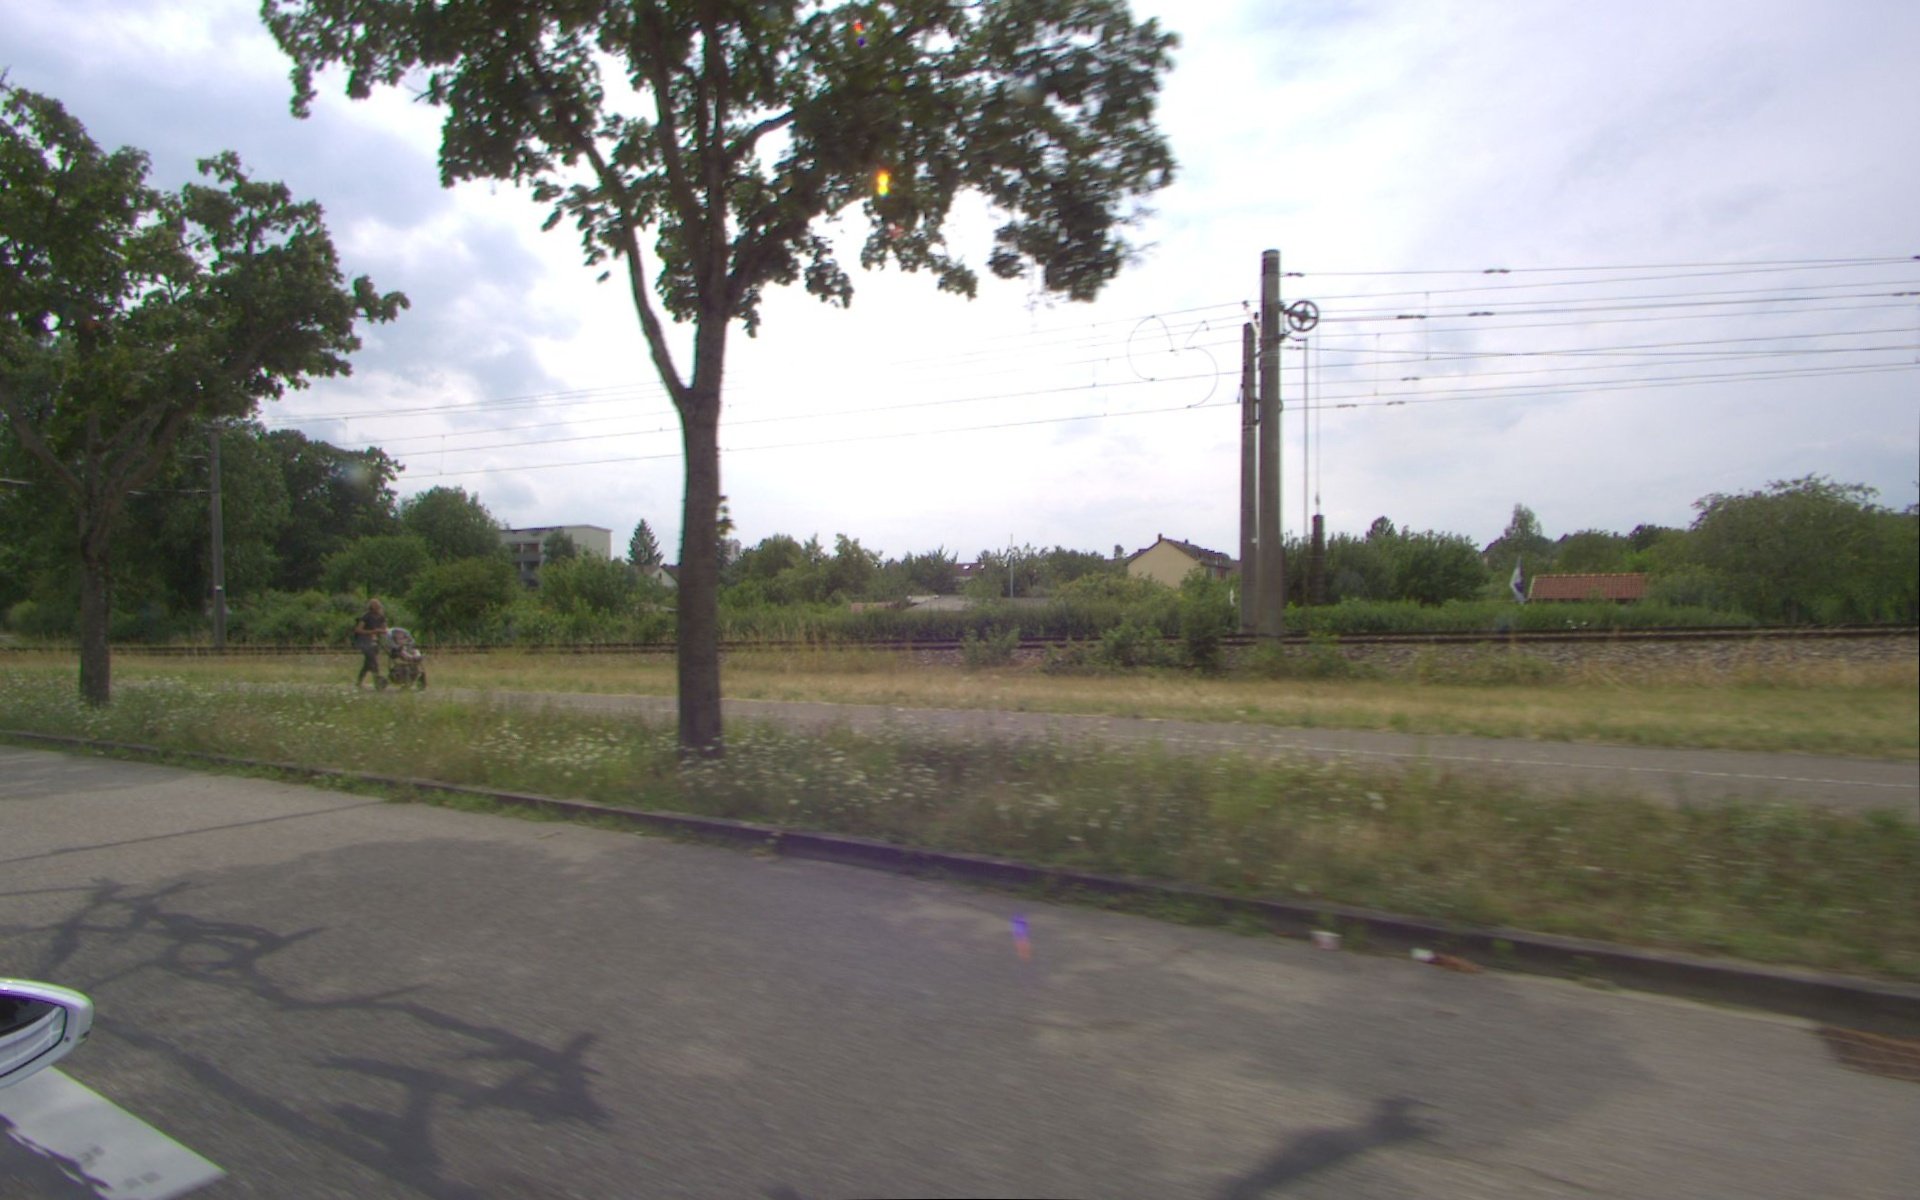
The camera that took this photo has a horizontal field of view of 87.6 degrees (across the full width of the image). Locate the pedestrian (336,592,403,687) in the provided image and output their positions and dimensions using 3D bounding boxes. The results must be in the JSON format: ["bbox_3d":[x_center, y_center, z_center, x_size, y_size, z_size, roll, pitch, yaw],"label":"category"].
[{"bbox_3d":[-10.999,0.724,18.656,0.919,1.718,0.690,0,1,27],"label":"pedestrian"}]

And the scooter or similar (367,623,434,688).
[{"bbox_3d":[-10.182,0.994,18.228,0.919,1.145,0.681,0,1,27],"label":"scooter or similar"}]
